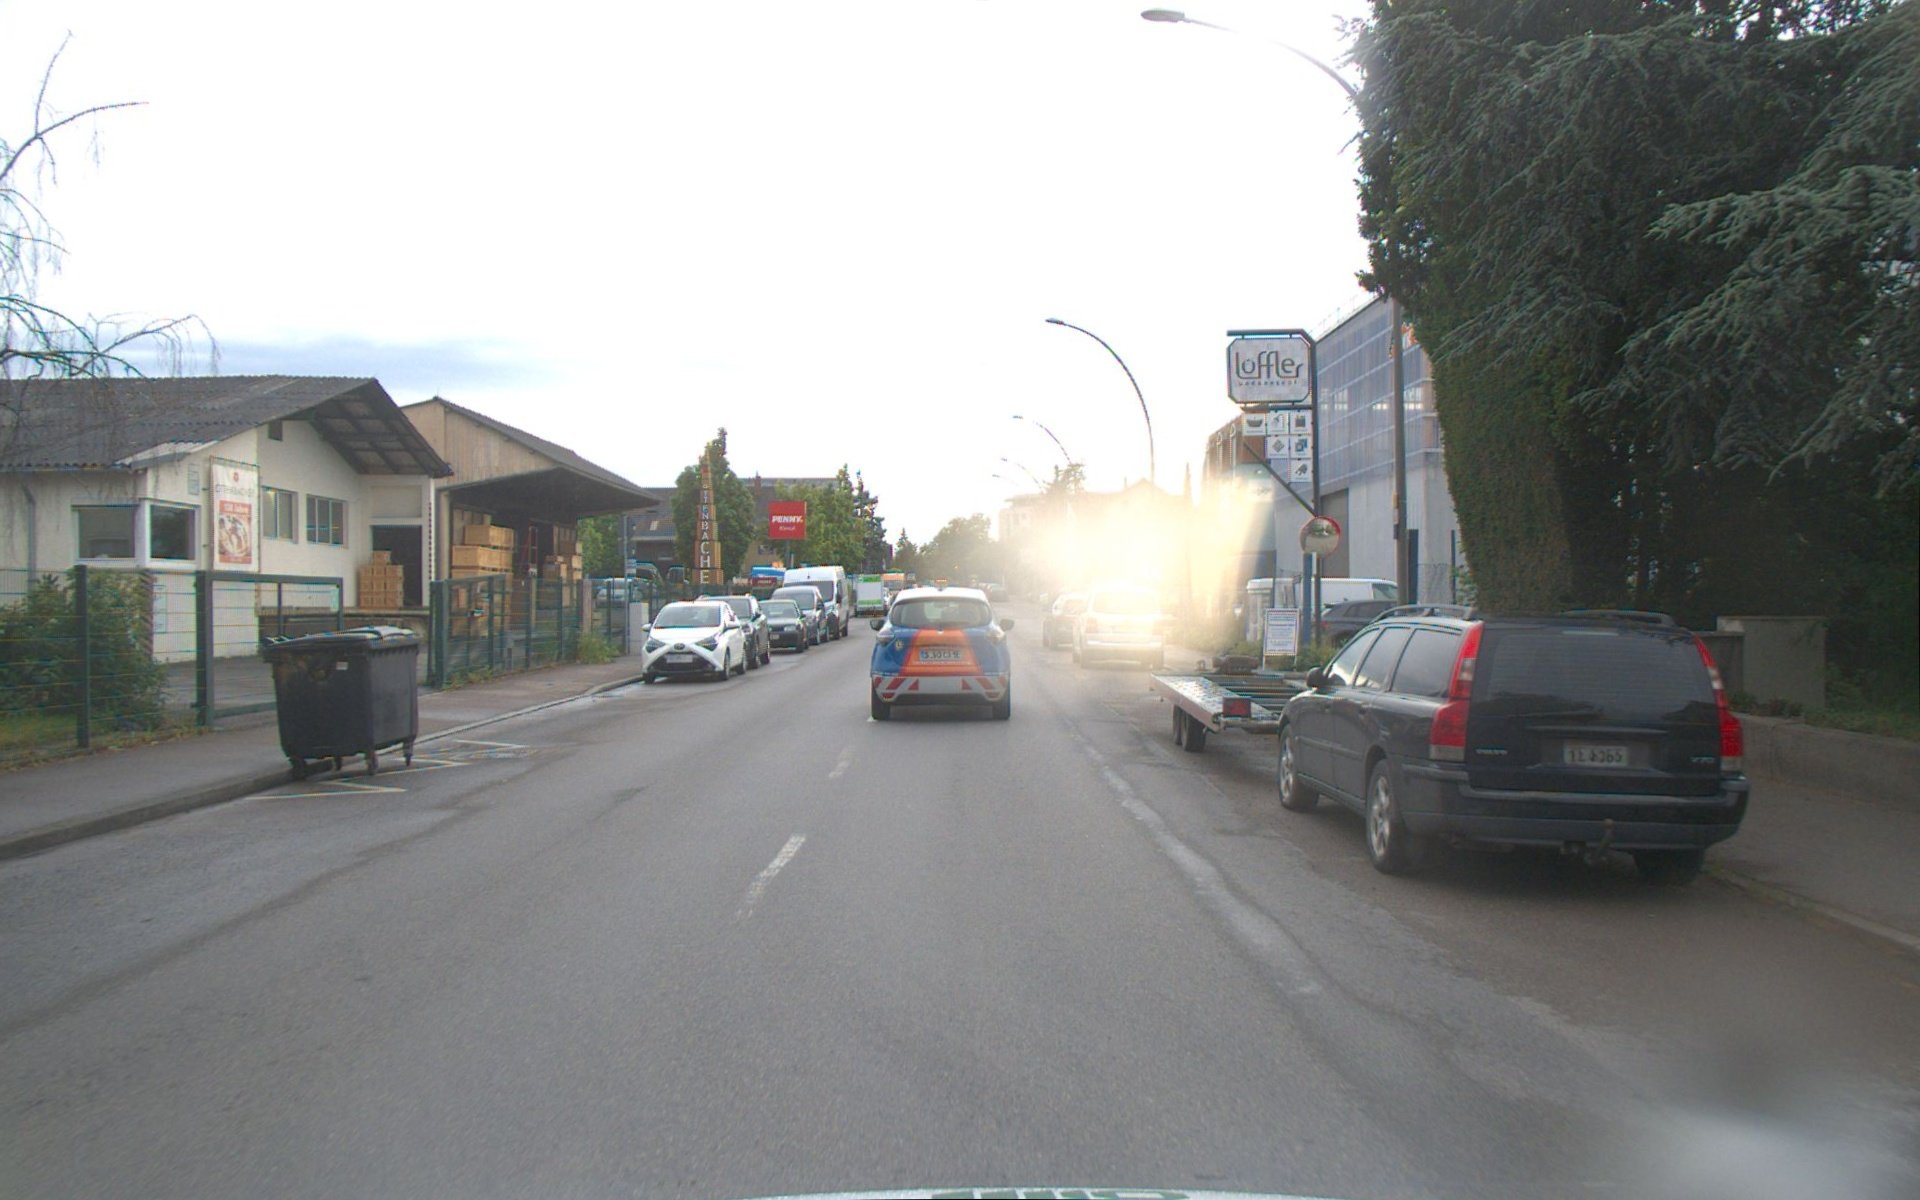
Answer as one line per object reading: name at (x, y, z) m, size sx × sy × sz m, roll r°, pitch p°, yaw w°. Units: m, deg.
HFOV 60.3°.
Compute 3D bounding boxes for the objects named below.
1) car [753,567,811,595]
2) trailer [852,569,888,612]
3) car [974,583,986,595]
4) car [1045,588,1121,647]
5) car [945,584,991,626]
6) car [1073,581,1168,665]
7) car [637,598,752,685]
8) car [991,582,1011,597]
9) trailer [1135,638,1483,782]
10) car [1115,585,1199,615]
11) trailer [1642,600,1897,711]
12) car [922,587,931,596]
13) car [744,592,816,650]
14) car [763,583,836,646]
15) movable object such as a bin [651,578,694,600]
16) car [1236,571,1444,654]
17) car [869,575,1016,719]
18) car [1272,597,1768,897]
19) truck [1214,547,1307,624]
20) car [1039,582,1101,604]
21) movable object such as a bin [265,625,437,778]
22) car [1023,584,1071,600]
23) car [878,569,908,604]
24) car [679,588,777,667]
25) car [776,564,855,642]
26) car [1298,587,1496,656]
car at (-13.619, -1.463, 126.858) m, size 4.218 × 2.049 × 2.063 m, roll 1°, pitch 0°, yaw 0°
trailer at (-5.189, -0.553, 95.836) m, size 1.776 × 2.354 × 4.730 m, roll -3°, pitch 1°, yaw -1°
car at (2.955, -1.646, 250.308) m, size 1.616 × 1.701 × 3.998 m, roll 1°, pitch 0°, yaw -2°
car at (3.299, 0.454, 44.930) m, size 1.703 × 1.492 × 4.545 m, roll 1°, pitch 0°, yaw 0°
car at (0.269, 0.169, 63.811) m, size 1.616 × 1.548 × 3.998 m, roll 1°, pitch 0°, yaw -2°
car at (3.342, 0.452, 35.029) m, size 1.703 × 1.650 × 4.374 m, roll 1°, pitch 0°, yaw 2°
car at (-5.094, 0.759, 32.175) m, size 1.583 × 1.535 × 3.660 m, roll -2°, pitch 0°, yaw 0°
car at (3.679, -0.944, 148.111) m, size 1.557 × 1.364 × 4.091 m, roll -1°, pitch 1°, yaw -2°
trailer at (3.211, 0.975, 16.867) m, size 2.129 × 0.913 × 6.636 m, roll 1°, pitch 1°, yaw 0°
car at (9.691, -0.030, 81.416) m, size 3.906 × 1.455 × 1.630 m, roll 0°, pitch 0°, yaw -2°
trailer at (10.390, 0.656, 21.537) m, size 1.581 × 1.298 × 3.893 m, roll 0°, pitch 0°, yaw 3°
car at (-5.312, -1.324, 260.895) m, size 1.358 × 1.509 × 3.782 m, roll -1°, pitch 0°, yaw -2°
car at (-4.975, 0.555, 46.225) m, size 1.628 × 1.473 × 4.316 m, roll -2°, pitch 0°, yaw -2°
car at (-5.068, 0.447, 52.665) m, size 1.733 × 1.799 × 4.446 m, roll -4°, pitch 0°, yaw 0°
movable object such as a bin at (-23.601, -0.916, 135.942) m, size 3.356 × 1.790 × 1.997 m, roll 1°, pitch 0°, yaw -7°
car at (9.250, 0.287, 40.523) m, size 4.635 × 1.919 × 2.000 m, roll 1°, pitch 0°, yaw 0°
car at (-0.228, 0.542, 20.984) m, size 1.696 × 1.659 × 3.494 m, roll 0°, pitch 0°, yaw -1°
car at (3.210, 0.723, 10.524) m, size 1.704 × 1.458 × 4.649 m, roll 1°, pitch 0°, yaw 2°
truck at (15.453, -0.746, 85.328) m, size 4.061 × 3.737 × 2.719 m, roll 3°, pitch 0°, yaw -3°
car at (7.804, -0.493, 117.819) m, size 4.250 × 1.501 × 1.902 m, roll 0°, pitch 0°, yaw -1°
movable object such as a bin at (-5.674, 0.919, 15.511) m, size 1.078 × 1.333 × 1.425 m, roll 1°, pitch 0°, yaw 0°
car at (7.491, -0.691, 142.657) m, size 3.906 × 1.288 × 1.950 m, roll 1°, pitch 0°, yaw -2°
car at (-5.059, -1.038, 125.919) m, size 2.081 × 2.581 × 6.021 m, roll -2°, pitch 1°, yaw -1°
car at (-5.120, 0.573, 36.980) m, size 1.627 × 1.612 × 3.915 m, roll -2°, pitch 0°, yaw -1°
car at (-5.031, 0.066, 58.457) m, size 2.114 × 2.469 × 6.459 m, roll -3°, pitch 0°, yaw 0°
car at (9.980, 0.476, 38.019) m, size 4.019 × 1.482 × 2.000 m, roll 1°, pitch 0°, yaw 0°
